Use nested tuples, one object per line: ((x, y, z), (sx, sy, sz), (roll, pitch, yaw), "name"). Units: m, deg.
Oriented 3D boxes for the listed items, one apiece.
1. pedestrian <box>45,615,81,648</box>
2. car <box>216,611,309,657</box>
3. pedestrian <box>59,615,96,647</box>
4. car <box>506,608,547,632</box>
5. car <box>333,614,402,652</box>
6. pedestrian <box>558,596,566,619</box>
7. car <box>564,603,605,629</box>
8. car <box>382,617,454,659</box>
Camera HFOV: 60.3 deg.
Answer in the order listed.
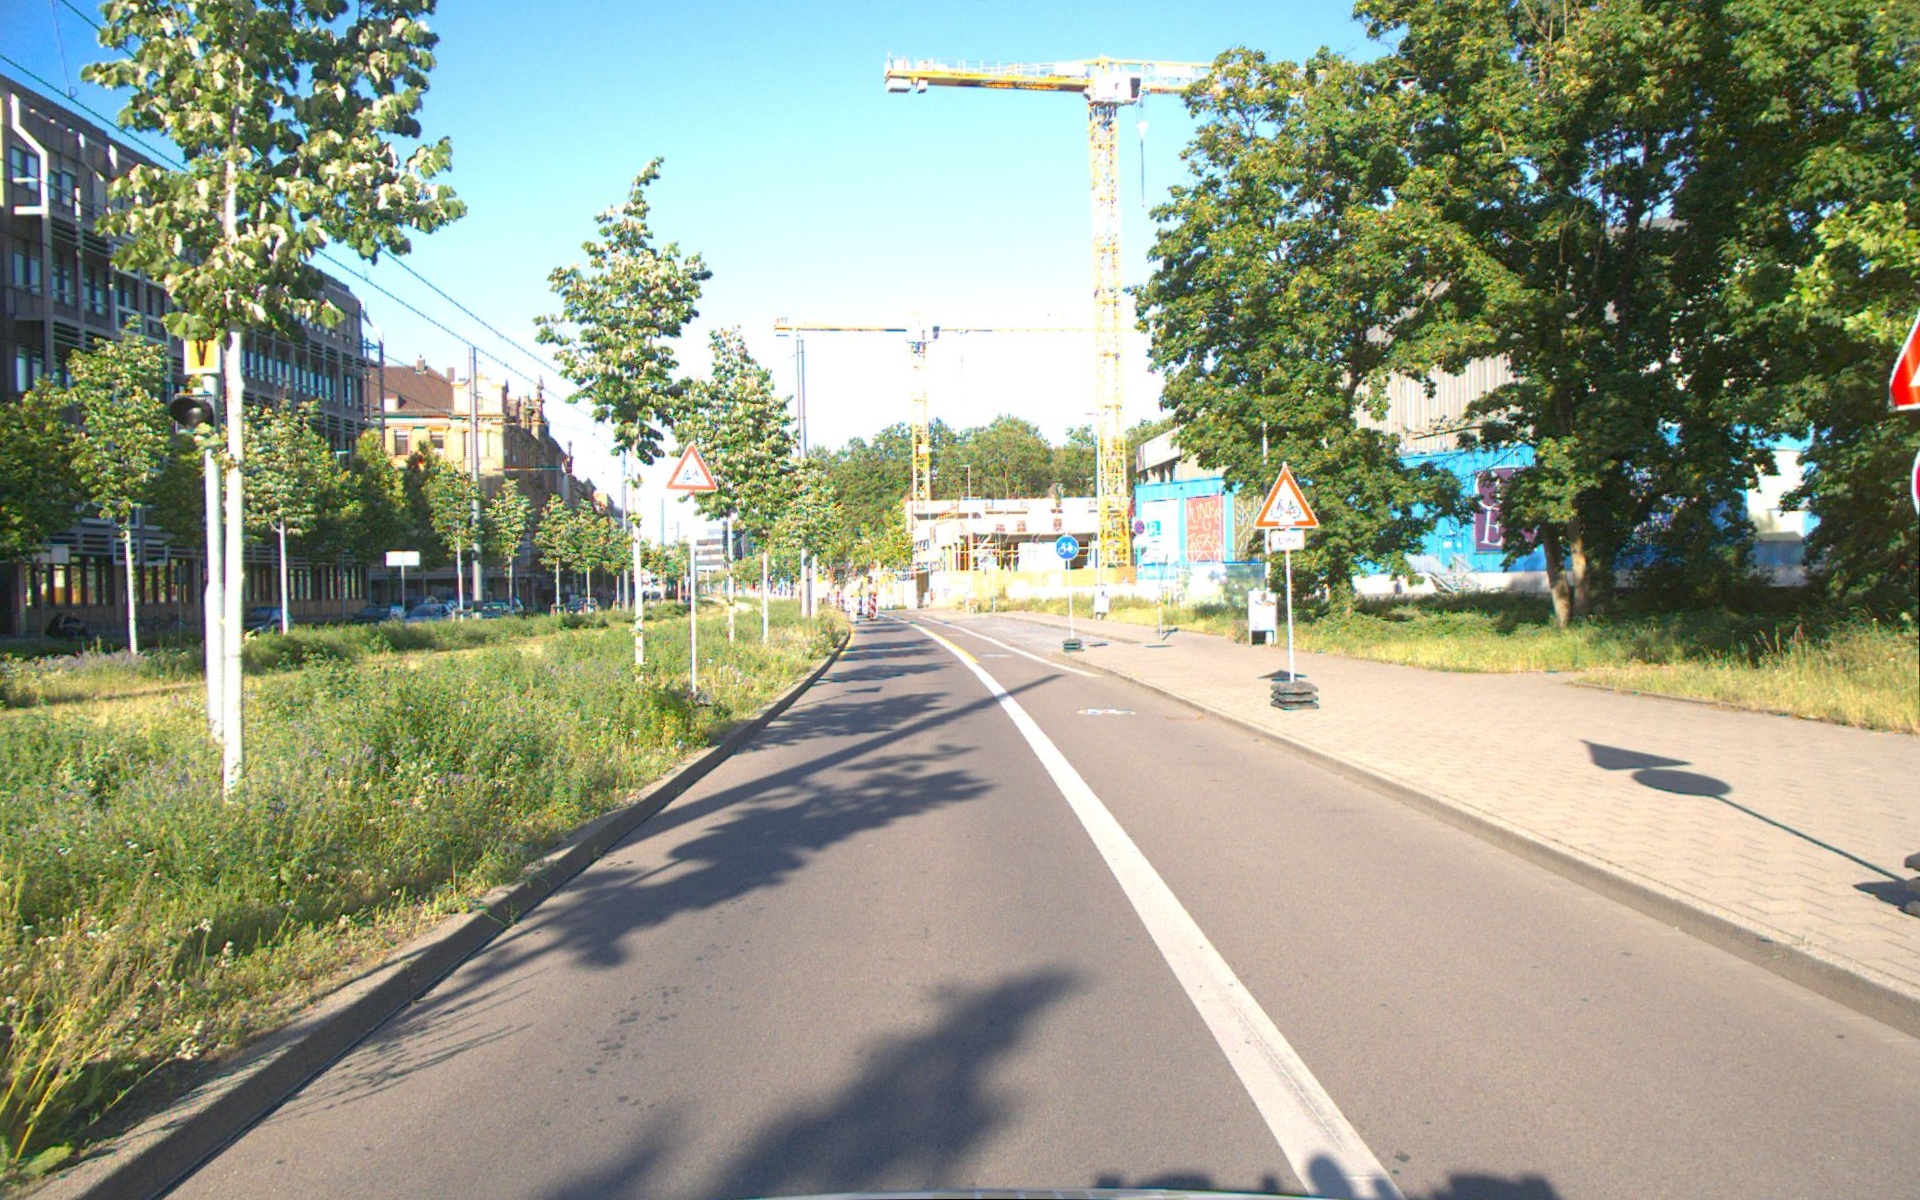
((-33.664, 1.178, 62.069), (0.882, 1.189, 0.865), (-1, 0, -3), "pedestrian")
((-26.889, 1.277, 63.919), (1.865, 1.603, 4.299), (-2, 0, -2), "car")
((-33.752, 1.178, 63.260), (0.881, 1.189, 0.899), (-1, 0, -1), "pedestrian")
((-30.218, 1.384, 115.322), (1.865, 1.603, 4.299), (-2, 0, -2), "car")
((-28.003, 1.534, 78.293), (1.865, 1.603, 4.299), (-2, 0, -2), "car")
((-34.574, 0.622, 143.663), (0.540, 1.981, 0.648), (-1, 0, -10), "pedestrian")
((-24.987, 1.059, 110.083), (1.865, 1.603, 4.299), (-2, 0, -2), "car")
((-23.073, 1.596, 70.550), (1.865, 1.603, 3.998), (-2, 0, -3), "car")
